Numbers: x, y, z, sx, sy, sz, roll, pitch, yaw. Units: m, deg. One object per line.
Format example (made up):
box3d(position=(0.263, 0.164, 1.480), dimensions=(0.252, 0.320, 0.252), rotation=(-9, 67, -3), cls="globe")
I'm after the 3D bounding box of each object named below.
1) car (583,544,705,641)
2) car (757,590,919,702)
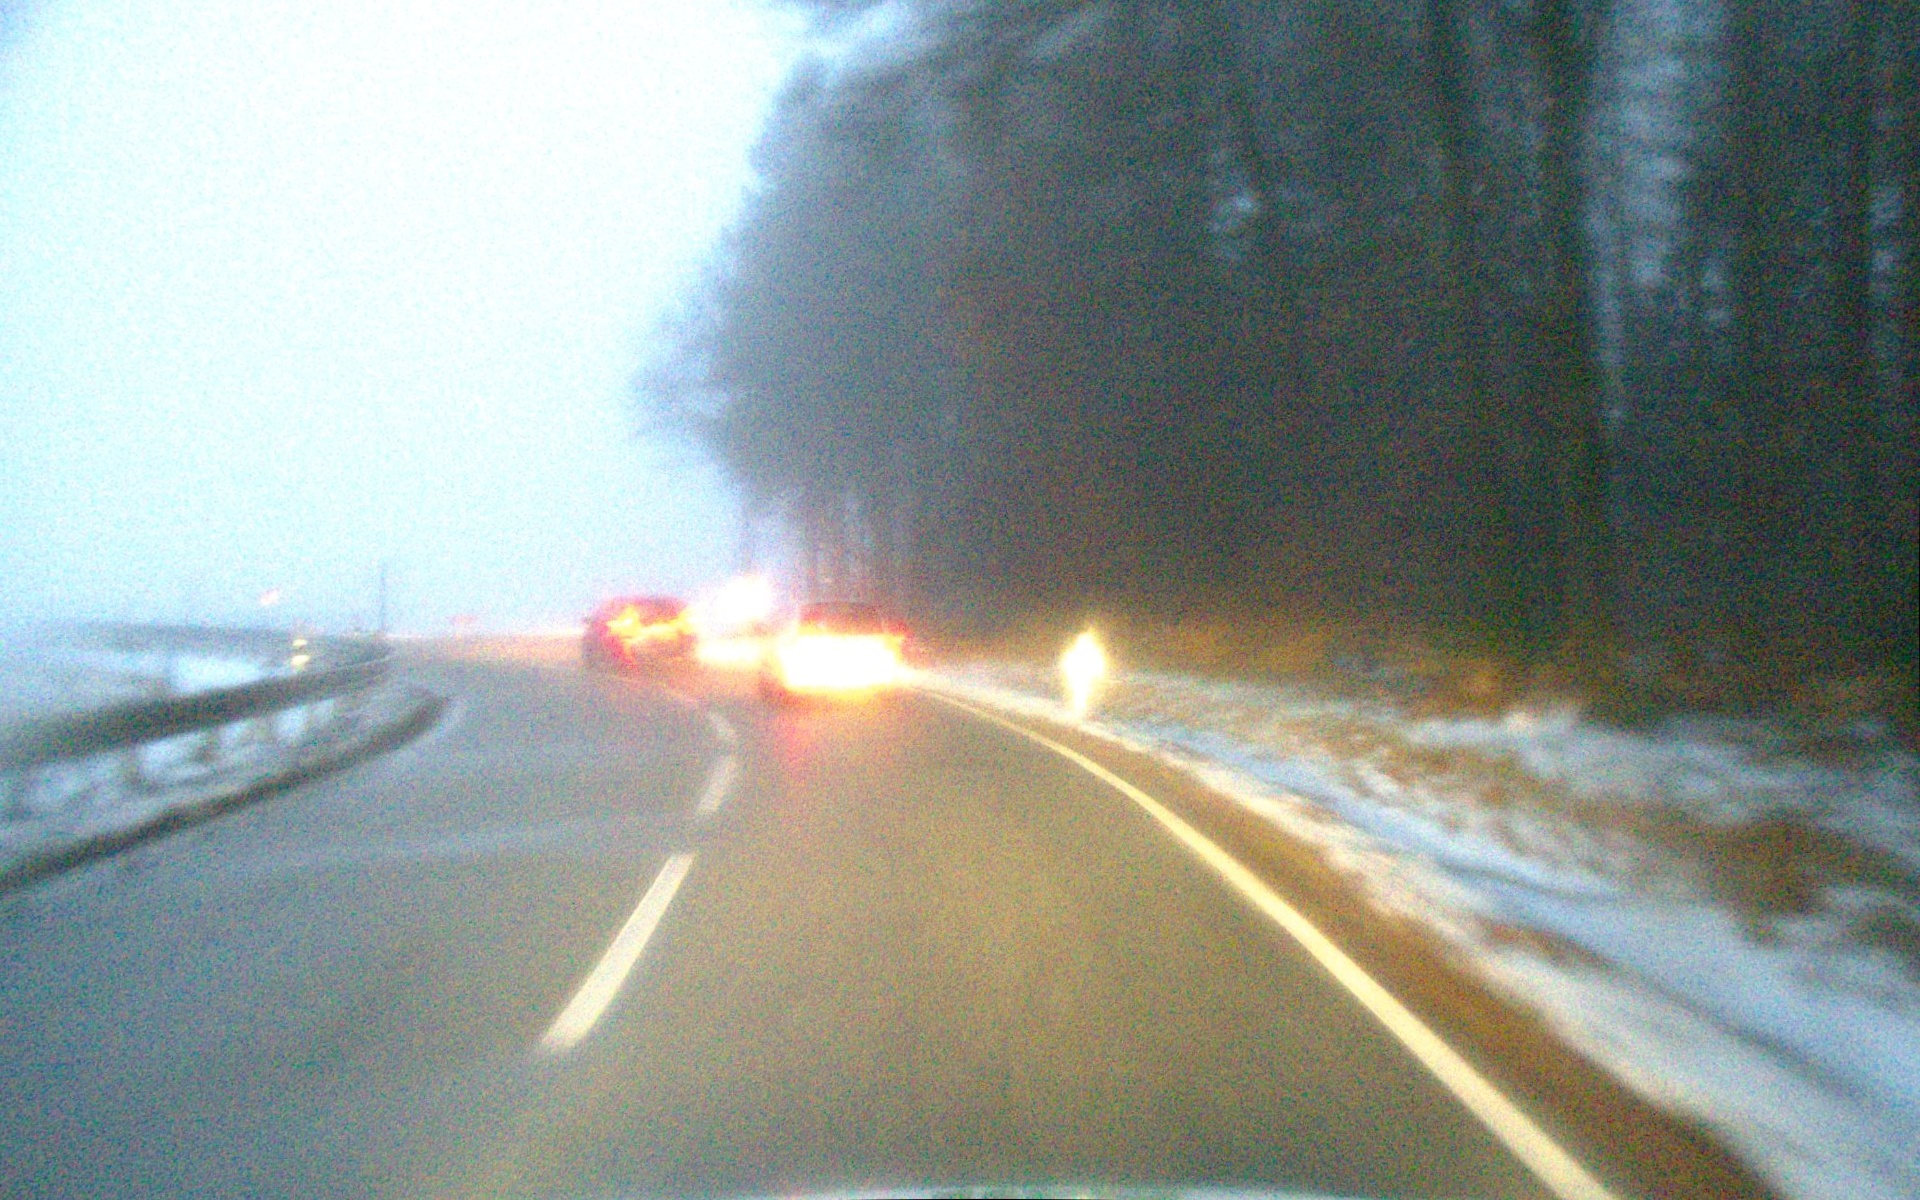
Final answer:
box3d(position=(-6.649, -0.179, 34.470), dimensions=(1.963, 1.814, 3.980), rotation=(3, 0, -18), cls="car")
box3d(position=(-1.802, 0.577, 23.221), dimensions=(1.910, 1.405, 3.991), rotation=(-1, 0, -9), cls="car")
